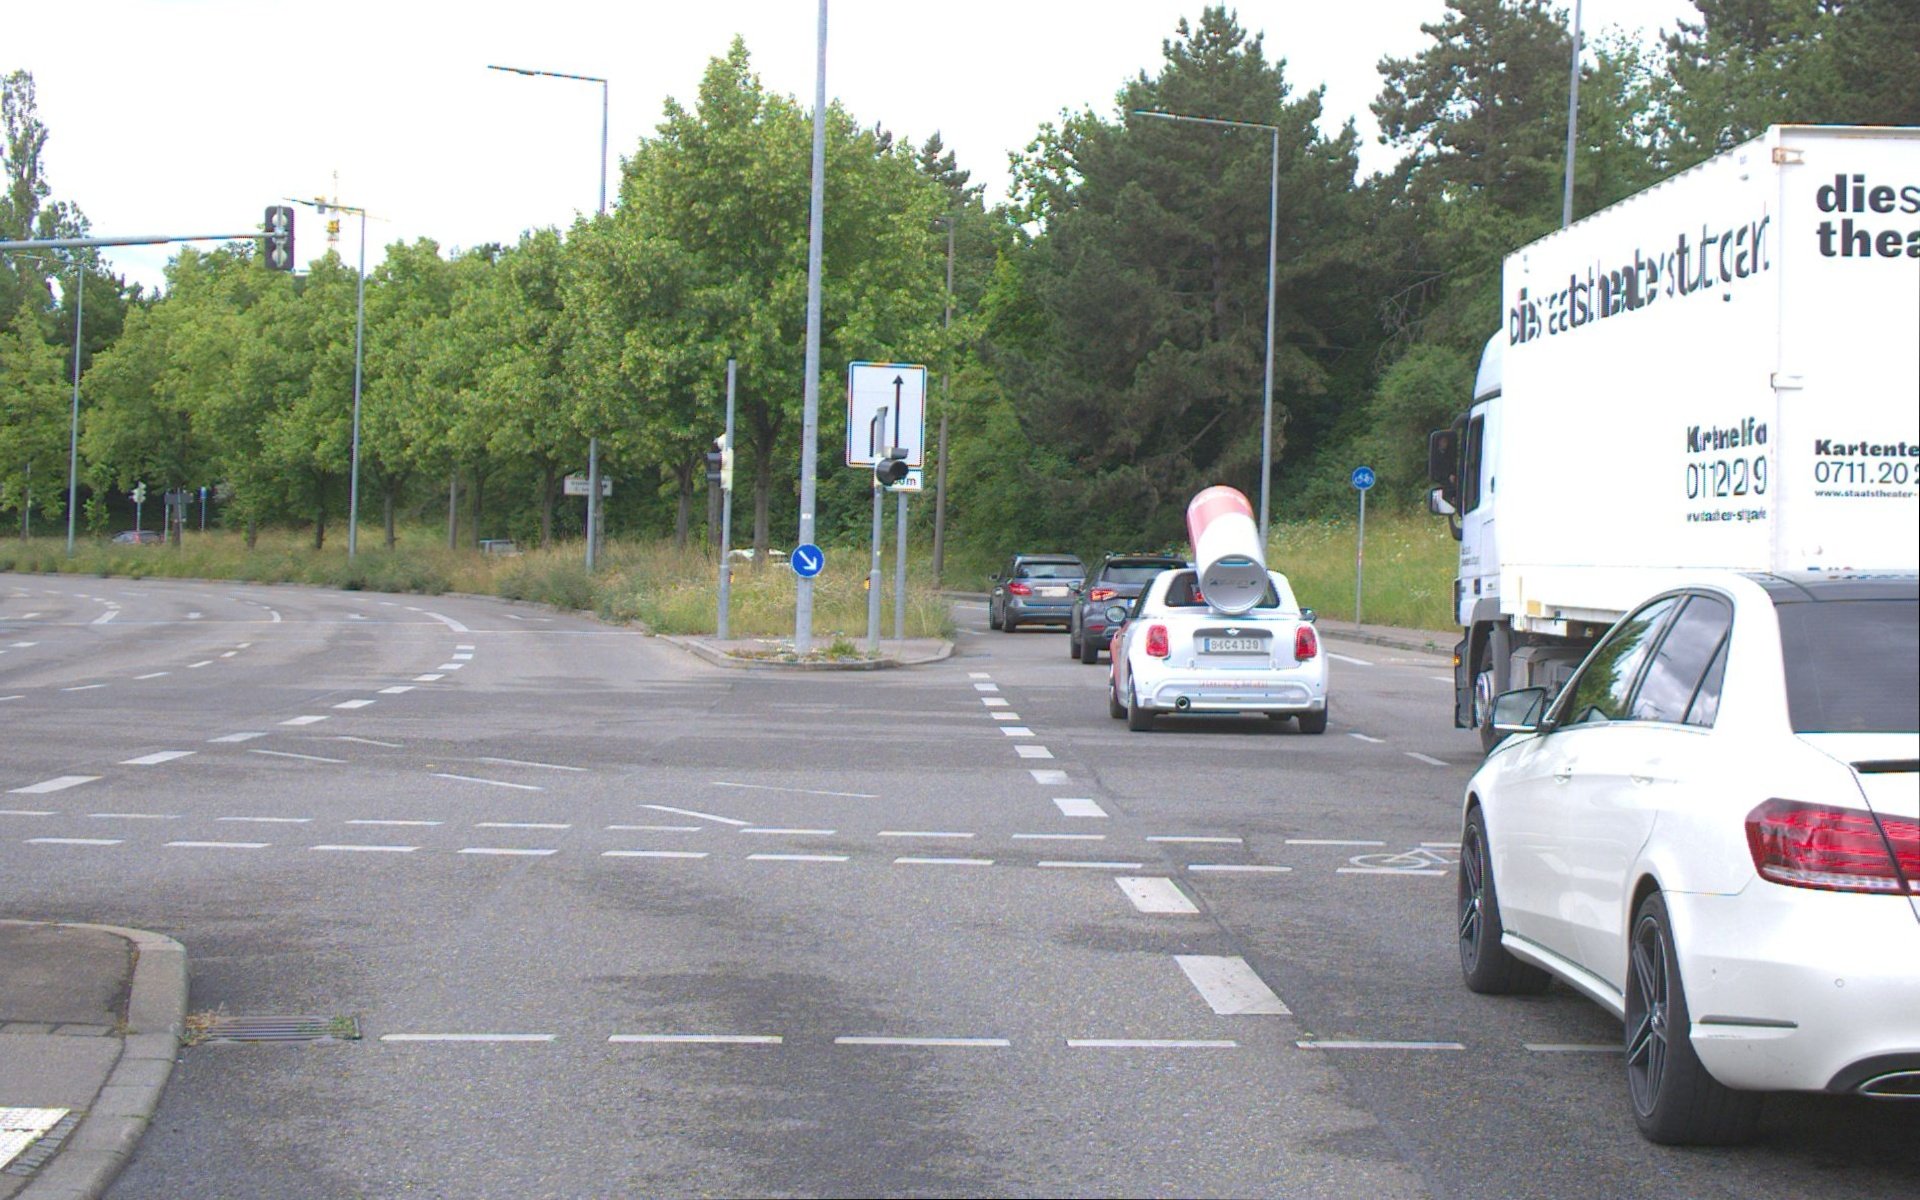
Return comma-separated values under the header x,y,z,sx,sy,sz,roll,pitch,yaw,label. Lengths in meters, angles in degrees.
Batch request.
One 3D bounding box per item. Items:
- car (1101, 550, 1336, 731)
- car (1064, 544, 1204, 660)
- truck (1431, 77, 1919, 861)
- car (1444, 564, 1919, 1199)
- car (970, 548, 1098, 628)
x,y,z,sx,sy,sz,roll,pitch,yaw,label
2.248,0.326,30.706,1.821,1.501,3.494,1,0,0,car
2.360,-0.001,47.340,1.624,1.488,3.837,1,1,-1,car
5.281,-0.757,22.223,2.802,3.890,10.183,1,1,-1,truck
2.598,0.618,9.553,1.799,1.407,4.317,1,0,-1,car
1.427,-0.259,67.601,1.746,1.503,4.049,1,1,-10,car
